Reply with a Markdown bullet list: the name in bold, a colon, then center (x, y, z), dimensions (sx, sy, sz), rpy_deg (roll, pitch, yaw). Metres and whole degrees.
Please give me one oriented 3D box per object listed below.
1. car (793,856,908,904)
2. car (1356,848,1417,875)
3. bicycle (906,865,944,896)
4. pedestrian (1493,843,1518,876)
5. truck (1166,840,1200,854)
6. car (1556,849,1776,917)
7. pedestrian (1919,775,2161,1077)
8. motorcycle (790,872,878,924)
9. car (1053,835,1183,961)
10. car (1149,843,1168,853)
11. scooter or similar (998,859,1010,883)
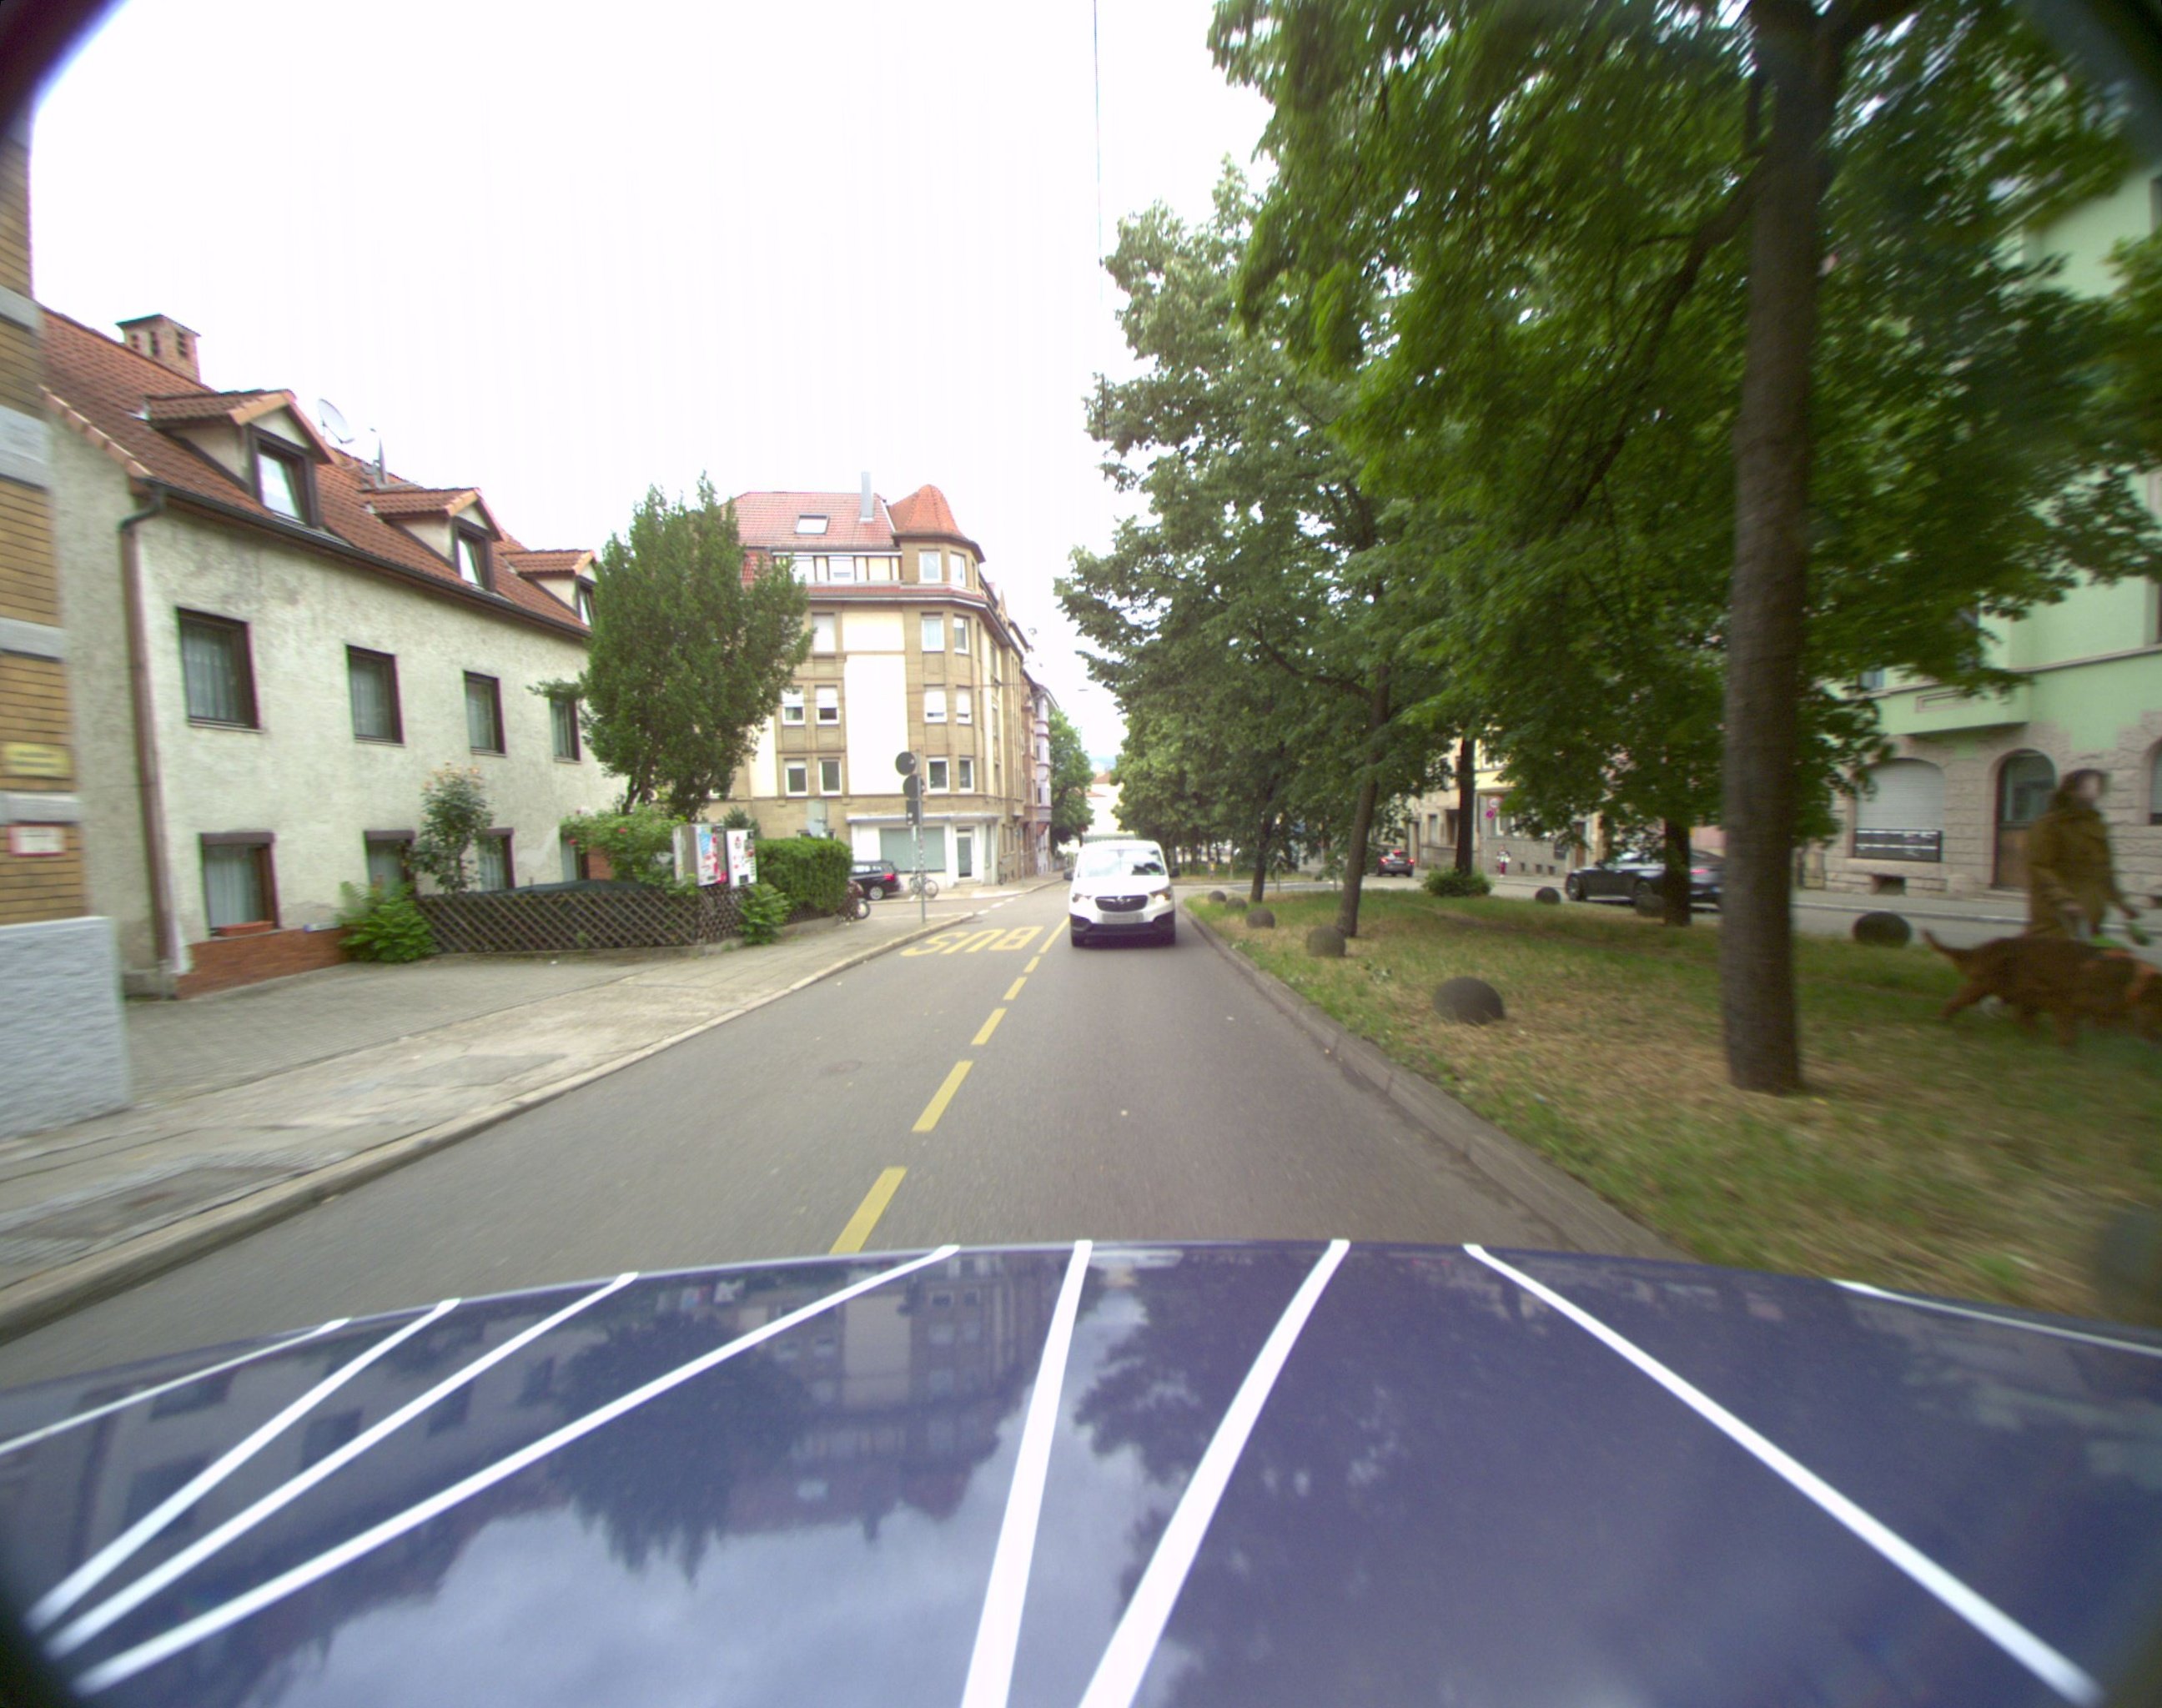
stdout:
- **car**: center (-9.758, 1.080, 32.461), dimensions (4.377, 1.638, 1.784), rpy_deg (-3, 5, -8)
- **car**: center (16.437, 0.416, 41.095), dimensions (1.712, 1.374, 4.670), rpy_deg (0, 0, 4)
- **bicycle**: center (-6.829, 1.152, 33.290), dimensions (0.642, 1.134, 2.068), rpy_deg (-7, 7, -40)
- **pedestrian**: center (19.066, 0.260, 34.111), dimensions (0.700, 1.452, 0.704), rpy_deg (-3, 0, 4)
- **truck**: center (20.295, -1.392, 151.018), dimensions (6.466, 2.707, 2.766), rpy_deg (-1, 0, -31)
- **car**: center (13.240, 0.609, 17.650), dimensions (1.762, 1.374, 4.670), rpy_deg (0, 0, 4)
- **pedestrian**: center (6.412, 0.398, 4.821), dimensions (0.835, 1.703, 1.122), rpy_deg (2, 3, 3)
- **motorcycle**: center (-6.824, 1.198, 21.080), dimensions (2.061, 1.260, 1.010), rpy_deg (-3, 1, -1)
- **car**: center (0.752, 0.672, 13.479), dimensions (1.857, 1.798, 4.731), rpy_deg (-2, -1, 5)
- **car**: center (14.717, -1.203, 144.765), dimensions (2.207, 1.563, 4.483), rpy_deg (-2, 3, 25)
- **scooter or similar**: center (-3.994, 0.876, 39.295), dimensions (0.411, 1.202, 1.146), rpy_deg (1, -2, 3)
